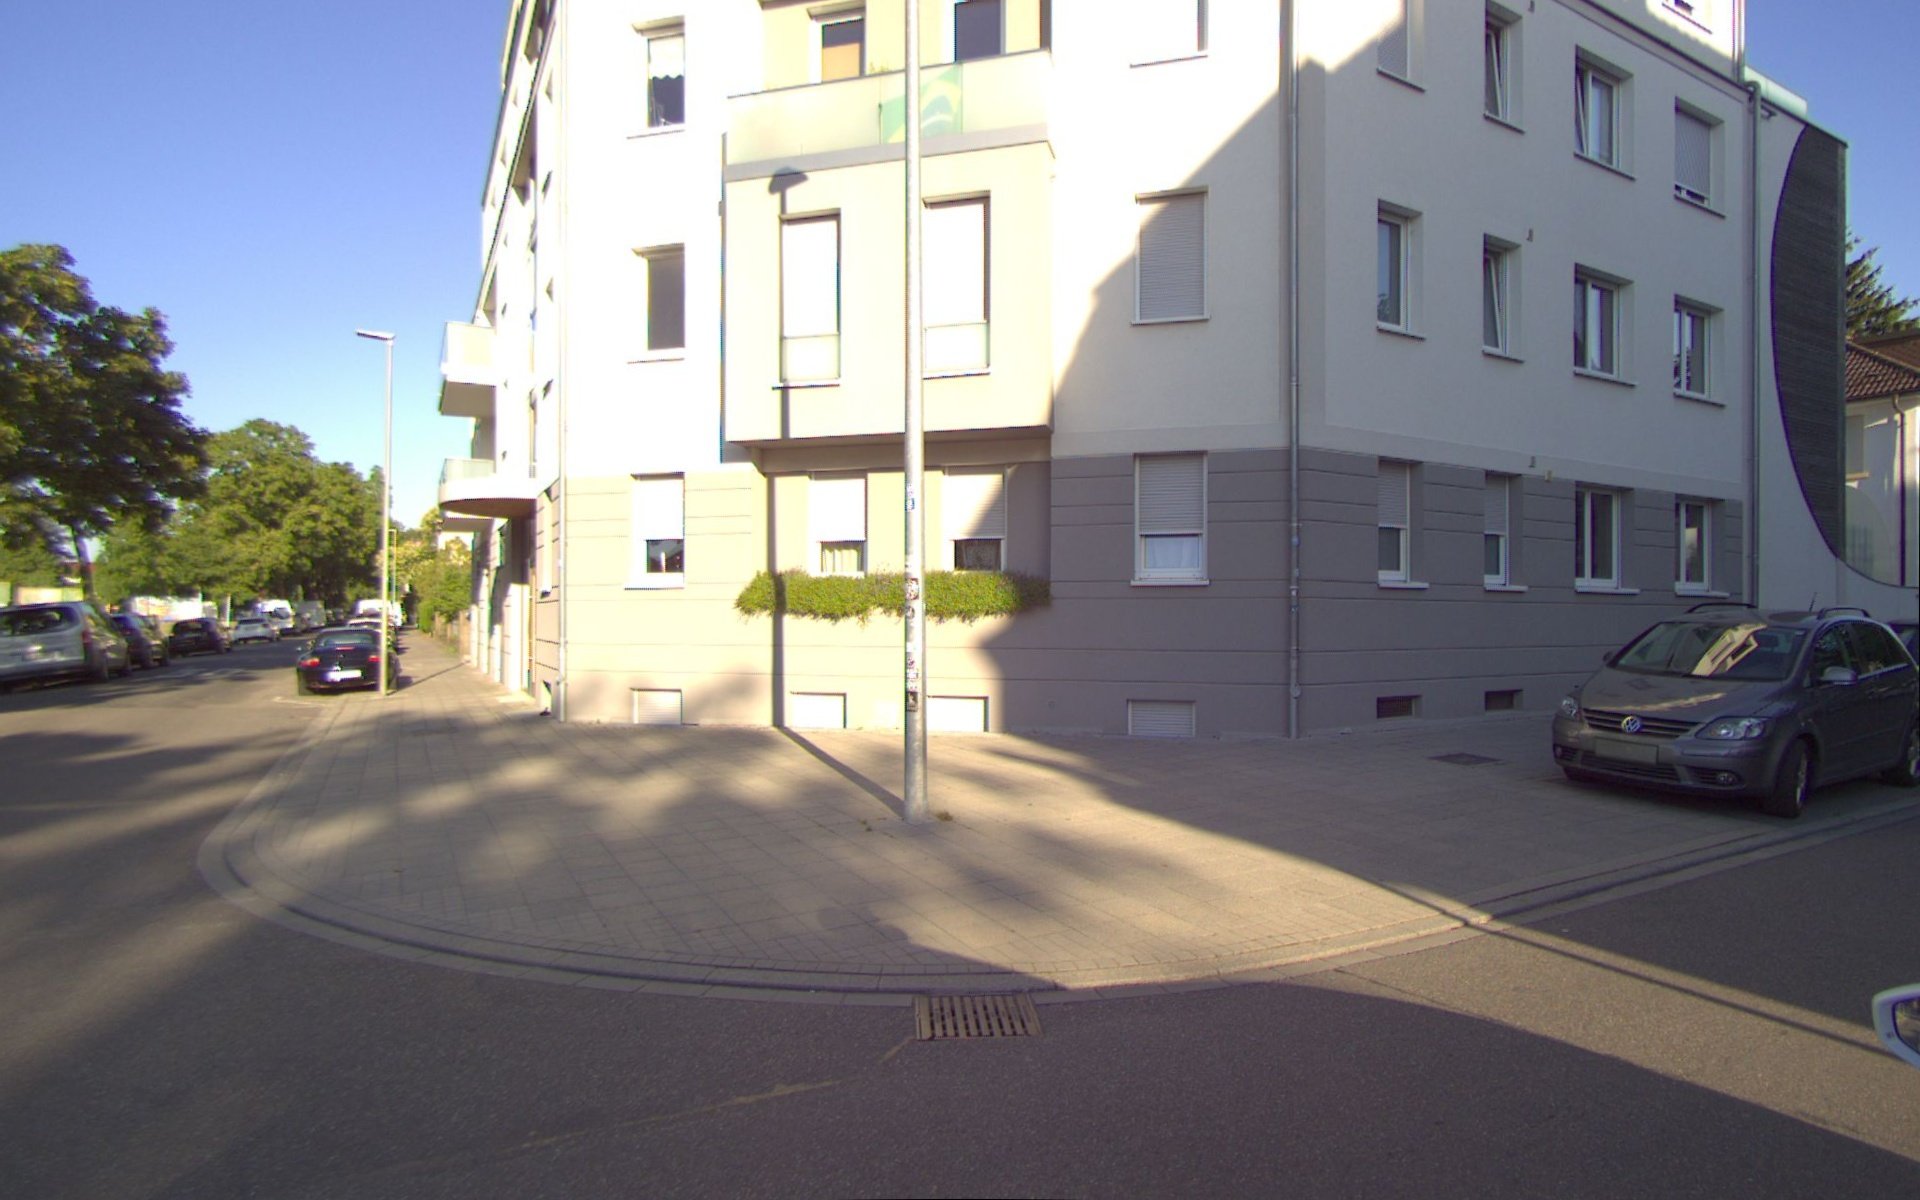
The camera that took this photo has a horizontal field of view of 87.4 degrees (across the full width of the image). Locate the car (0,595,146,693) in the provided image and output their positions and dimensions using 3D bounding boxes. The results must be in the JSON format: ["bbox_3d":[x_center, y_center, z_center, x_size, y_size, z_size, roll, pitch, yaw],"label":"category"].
[{"bbox_3d":[-20.547,0.938,23.133,2.055,2.040,4.539,1,-1,-30],"label":"car"}]

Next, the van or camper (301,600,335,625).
[{"bbox_3d":[-59.653,1.178,93.380,2.200,2.308,4.478,1,-1,-27],"label":"van or camper"}]

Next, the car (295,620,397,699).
[{"bbox_3d":[-13.084,1.195,21.576,1.605,1.441,3.703,-2,1,-28],"label":"car"}]

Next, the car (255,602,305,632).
[{"bbox_3d":[-46.402,1.145,68.646,2.200,1.971,4.478,1,-1,-27],"label":"car"}]

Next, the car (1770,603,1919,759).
[{"bbox_3d":[11.436,0.855,11.761,4.045,1.612,1.874,1,-1,-33],"label":"car"}]

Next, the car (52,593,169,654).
[{"bbox_3d":[-23.877,0.634,28.388,1.804,1.601,3.807,1,-1,-29],"label":"car"}]

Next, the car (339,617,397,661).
[{"bbox_3d":[-22.803,1.459,38.787,1.804,1.601,3.807,1,-1,-29],"label":"car"}]

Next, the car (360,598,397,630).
[{"bbox_3d":[-41.504,0.992,71.736,1.974,2.243,4.103,1,-1,-27],"label":"car"}]

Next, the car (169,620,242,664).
[{"bbox_3d":[-29.718,1.616,39.670,1.804,1.601,3.807,1,-1,-29],"label":"car"}]

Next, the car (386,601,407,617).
[{"bbox_3d":[-63.285,0.991,112.858,1.824,1.765,3.869,1,-1,-27],"label":"car"}]

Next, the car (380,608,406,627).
[{"bbox_3d":[-51.817,1.581,91.893,1.843,1.696,4.103,1,-1,-27],"label":"car"}]

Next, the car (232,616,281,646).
[{"bbox_3d":[-38.644,1.671,55.268,1.804,1.601,3.807,1,-1,-29],"label":"car"}]

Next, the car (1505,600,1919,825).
[{"bbox_3d":[6.960,0.832,9.085,4.045,1.612,1.874,1,-1,-33],"label":"car"}]
